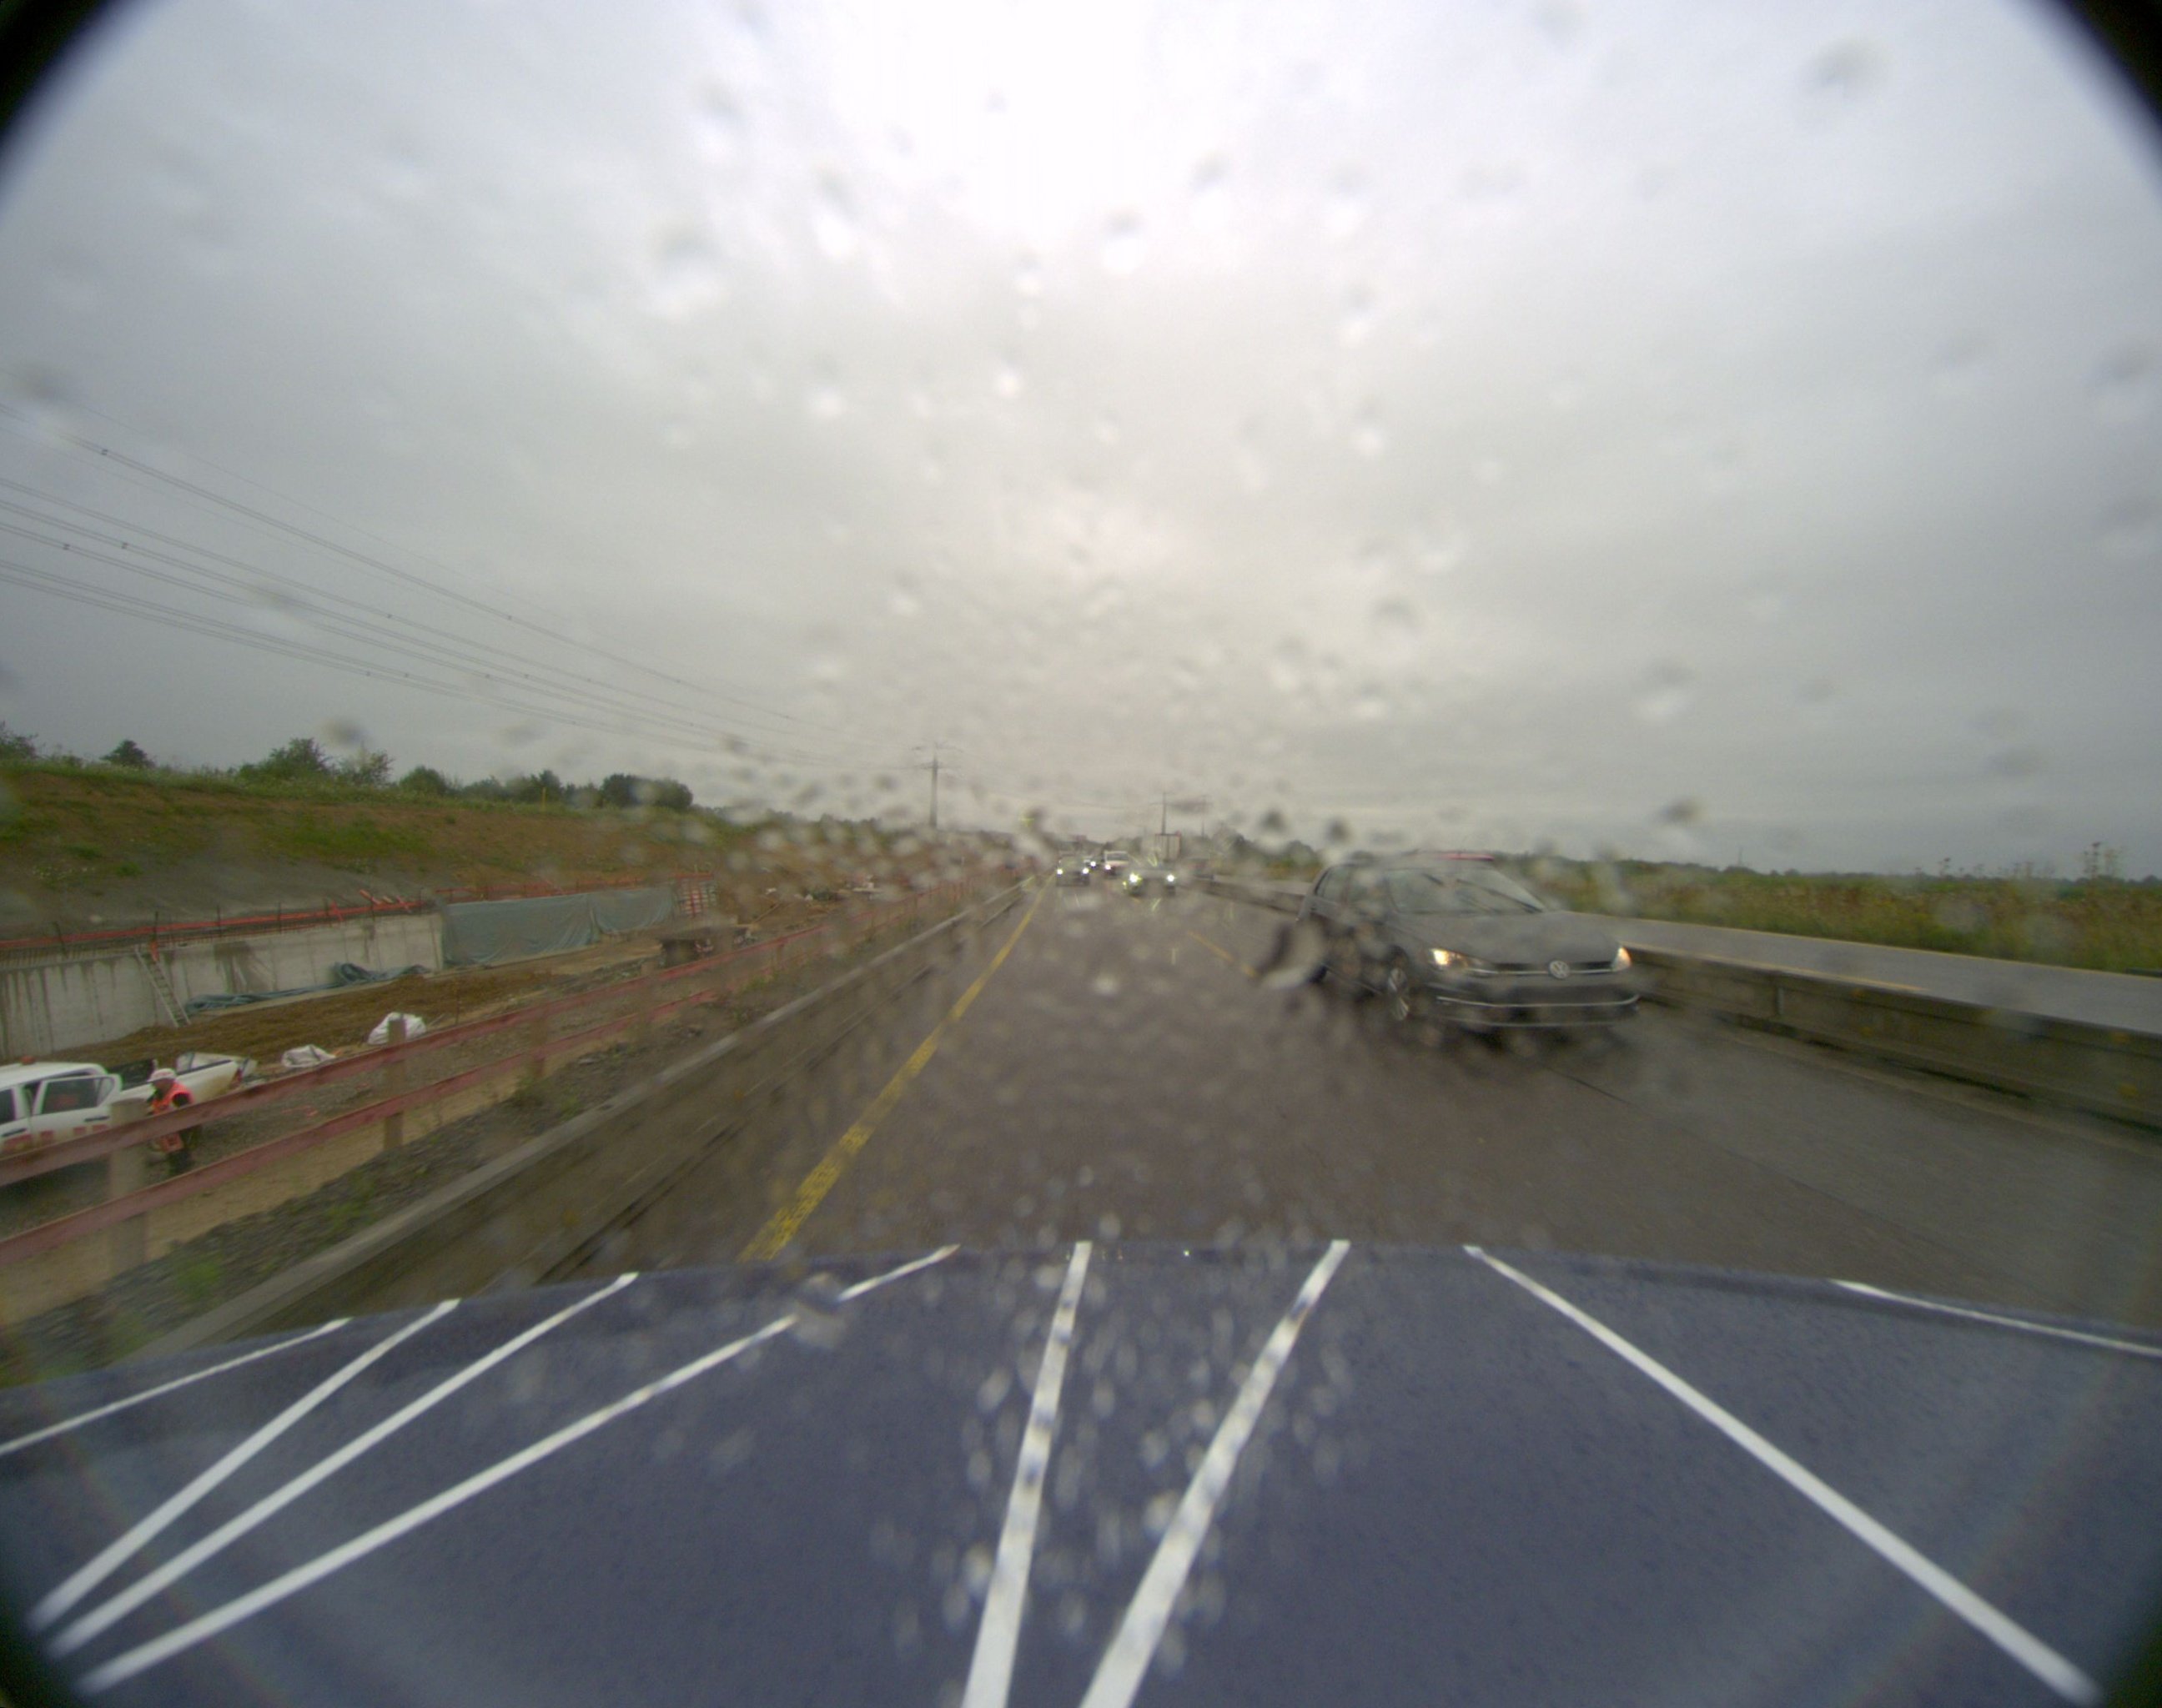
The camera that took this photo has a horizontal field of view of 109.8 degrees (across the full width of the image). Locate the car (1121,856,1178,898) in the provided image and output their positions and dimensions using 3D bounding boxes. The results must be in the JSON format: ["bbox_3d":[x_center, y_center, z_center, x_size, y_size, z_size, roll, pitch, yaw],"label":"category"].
[{"bbox_3d":[2.636,0.851,30.048,1.800,1.389,4.268,-2,1,0],"label":"car"}]

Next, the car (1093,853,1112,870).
[{"bbox_3d":[2.257,0.757,78.525,1.799,1.521,4.067,-2,1,2],"label":"car"}]

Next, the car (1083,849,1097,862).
[{"bbox_3d":[1.363,0.216,112.953,1.799,1.850,4.287,-2,1,2],"label":"car"}]

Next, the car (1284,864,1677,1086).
[{"bbox_3d":[3.361,0.884,7.385,1.654,1.414,4.080,-1,1,0],"label":"car"}]

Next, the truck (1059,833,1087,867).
[{"bbox_3d":[-0.812,-0.468,88.355,2.836,3.617,9.120,-2,1,2],"label":"truck"}]

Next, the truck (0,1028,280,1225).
[{"bbox_3d":[-15.826,4.199,11.187,1.766,1.860,5.786,0,1,2],"label":"truck"}]

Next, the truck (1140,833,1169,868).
[{"bbox_3d":[8.931,-0.441,93.057,2.794,4.157,5.906,-1,0,-1],"label":"truck"}]

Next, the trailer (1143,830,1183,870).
[{"bbox_3d":[9.089,-0.412,85.923,2.794,4.175,13.672,-1,0,-1],"label":"trailer"}]

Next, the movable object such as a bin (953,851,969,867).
[{"bbox_3d":[-21.622,0.879,136.728,2.252,2.703,3.999,-2,1,-1],"label":"movable object such as a bin"}]

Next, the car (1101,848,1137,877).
[{"bbox_3d":[2.594,0.537,53.655,2.161,1.848,5.178,-2,1,-1],"label":"car"}]

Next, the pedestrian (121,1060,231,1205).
[{"bbox_3d":[-13.959,4.246,11.732,0.808,1.789,0.938,1,2,31],"label":"pedestrian"}]

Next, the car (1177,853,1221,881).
[{"bbox_3d":[6.919,0.729,45.000,1.830,1.434,4.696,-1,1,0],"label":"car"}]

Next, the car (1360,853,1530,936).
[{"bbox_3d":[7.040,0.704,15.105,1.642,1.388,3.592,-2,1,0],"label":"car"}]

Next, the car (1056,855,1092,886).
[{"bbox_3d":[-0.443,0.861,41.748,1.800,1.524,4.306,-2,0,-3],"label":"car"}]

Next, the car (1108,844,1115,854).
[{"bbox_3d":[8.078,-1.255,203.648,1.730,2.707,4.090,-1,1,0],"label":"car"}]
